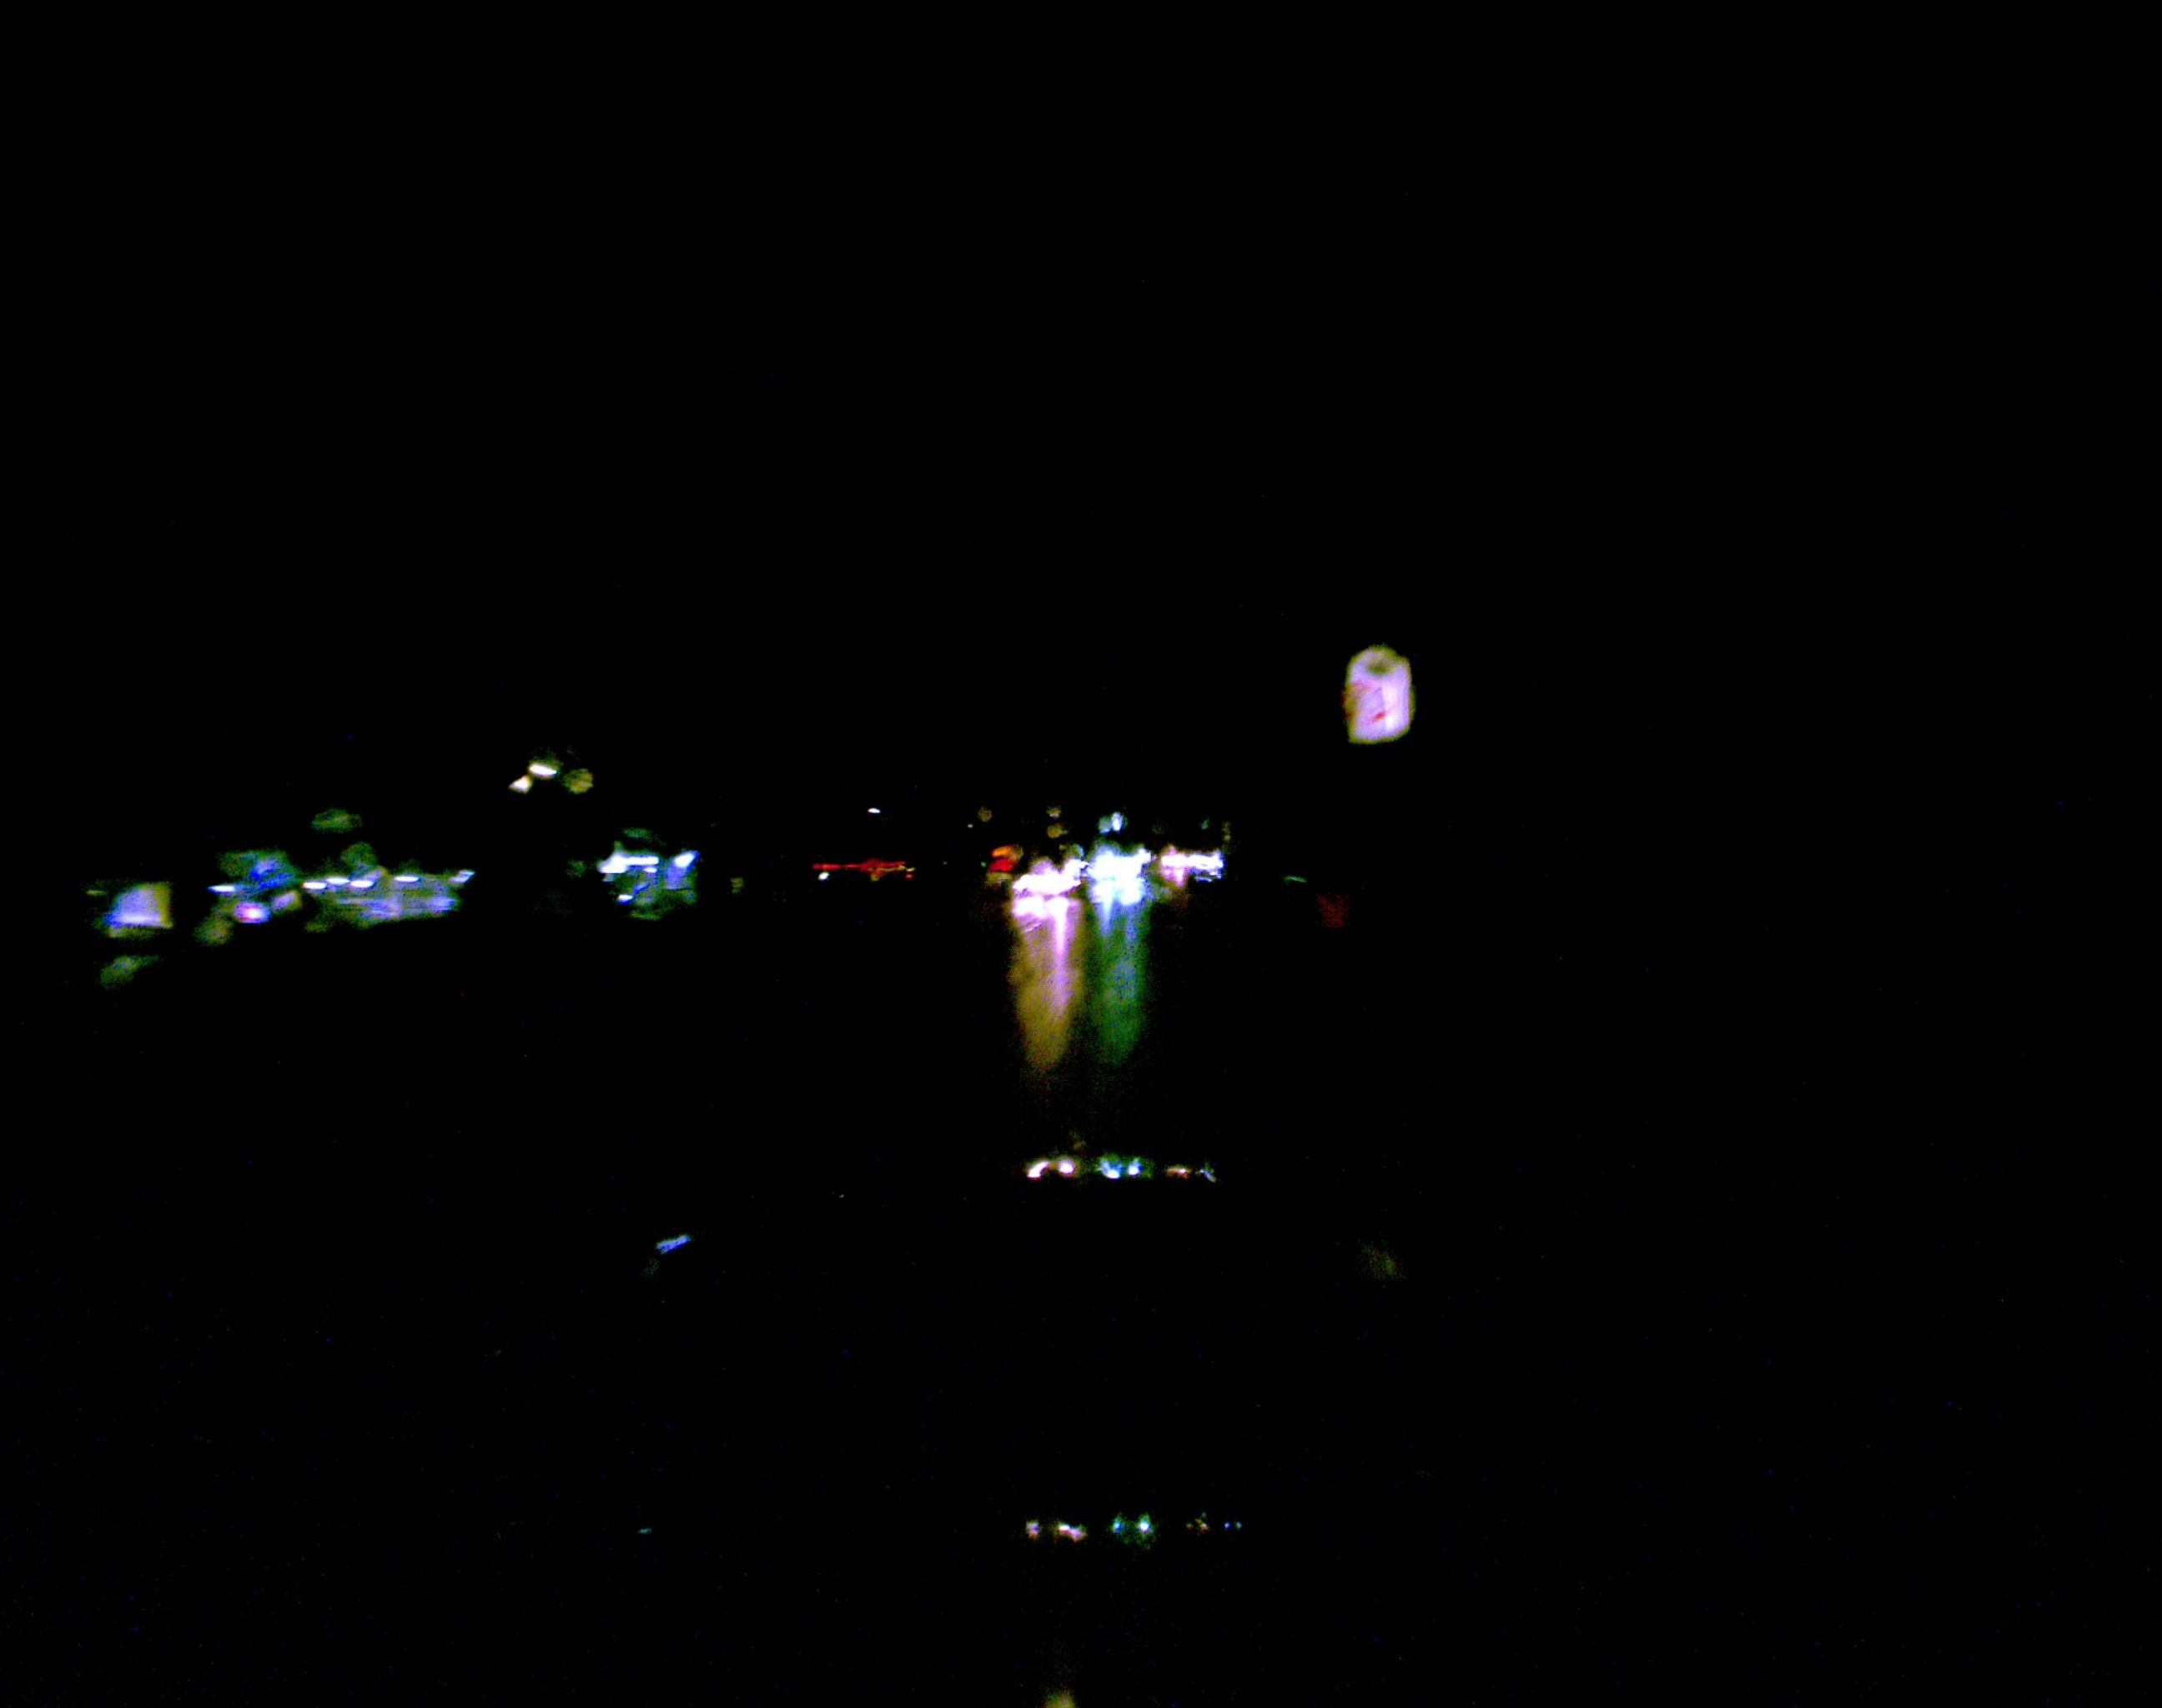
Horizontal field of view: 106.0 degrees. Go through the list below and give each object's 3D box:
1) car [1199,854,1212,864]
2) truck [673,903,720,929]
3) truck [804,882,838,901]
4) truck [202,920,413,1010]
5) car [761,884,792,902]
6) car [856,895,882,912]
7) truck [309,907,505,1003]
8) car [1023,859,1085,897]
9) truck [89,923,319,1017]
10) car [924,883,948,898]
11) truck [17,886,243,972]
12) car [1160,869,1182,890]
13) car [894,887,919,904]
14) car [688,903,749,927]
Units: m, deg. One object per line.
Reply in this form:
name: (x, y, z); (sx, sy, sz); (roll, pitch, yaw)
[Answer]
car: (16.854, 0.662, 110.093); (1.580, 1.379, 4.338); (0, -1, 11)
truck: (-38.376, 6.130, 81.408); (2.073, 2.119, 4.501); (-7, -2, 5)
truck: (-36.626, 5.272, 114.877); (2.310, 2.463, 6.497); (-1, -1, 3)
truck: (-35.022, 4.904, 37.331); (2.424, 3.097, 7.058); (-6, -2, 4)
car: (-42.603, 5.441, 113.882); (1.981, 2.265, 4.472); (-1, -1, 11)
car: (-22.275, 5.180, 85.421); (1.821, 1.567, 4.172); (-5, -2, -25)
truck: (-30.549, 4.442, 37.394); (2.455, 3.480, 7.061); (-6, -2, 5)
car: (-1.000, 0.917, 32.463); (1.624, 1.354, 4.154); (-1, 0, 10)
truck: (-39.725, 5.101, 37.336); (2.424, 3.260, 7.058); (-6, -2, 4)
car: (-18.629, 4.661, 104.615); (1.762, 1.596, 4.008); (-7, -2, 7)
truck: (-44.081, 3.321, 38.131); (2.424, 3.260, 6.573); (-5, 0, 4)
car: (9.582, 2.688, 86.438); (1.880, 2.002, 4.894); (1, 1, 10)
car: (-19.906, 4.747, 93.004); (1.738, 1.618, 3.518); (-6, -2, 5)
car: (-27.823, 4.665, 62.595); (3.995, 1.640, 1.990); (-1, 0, -16)
